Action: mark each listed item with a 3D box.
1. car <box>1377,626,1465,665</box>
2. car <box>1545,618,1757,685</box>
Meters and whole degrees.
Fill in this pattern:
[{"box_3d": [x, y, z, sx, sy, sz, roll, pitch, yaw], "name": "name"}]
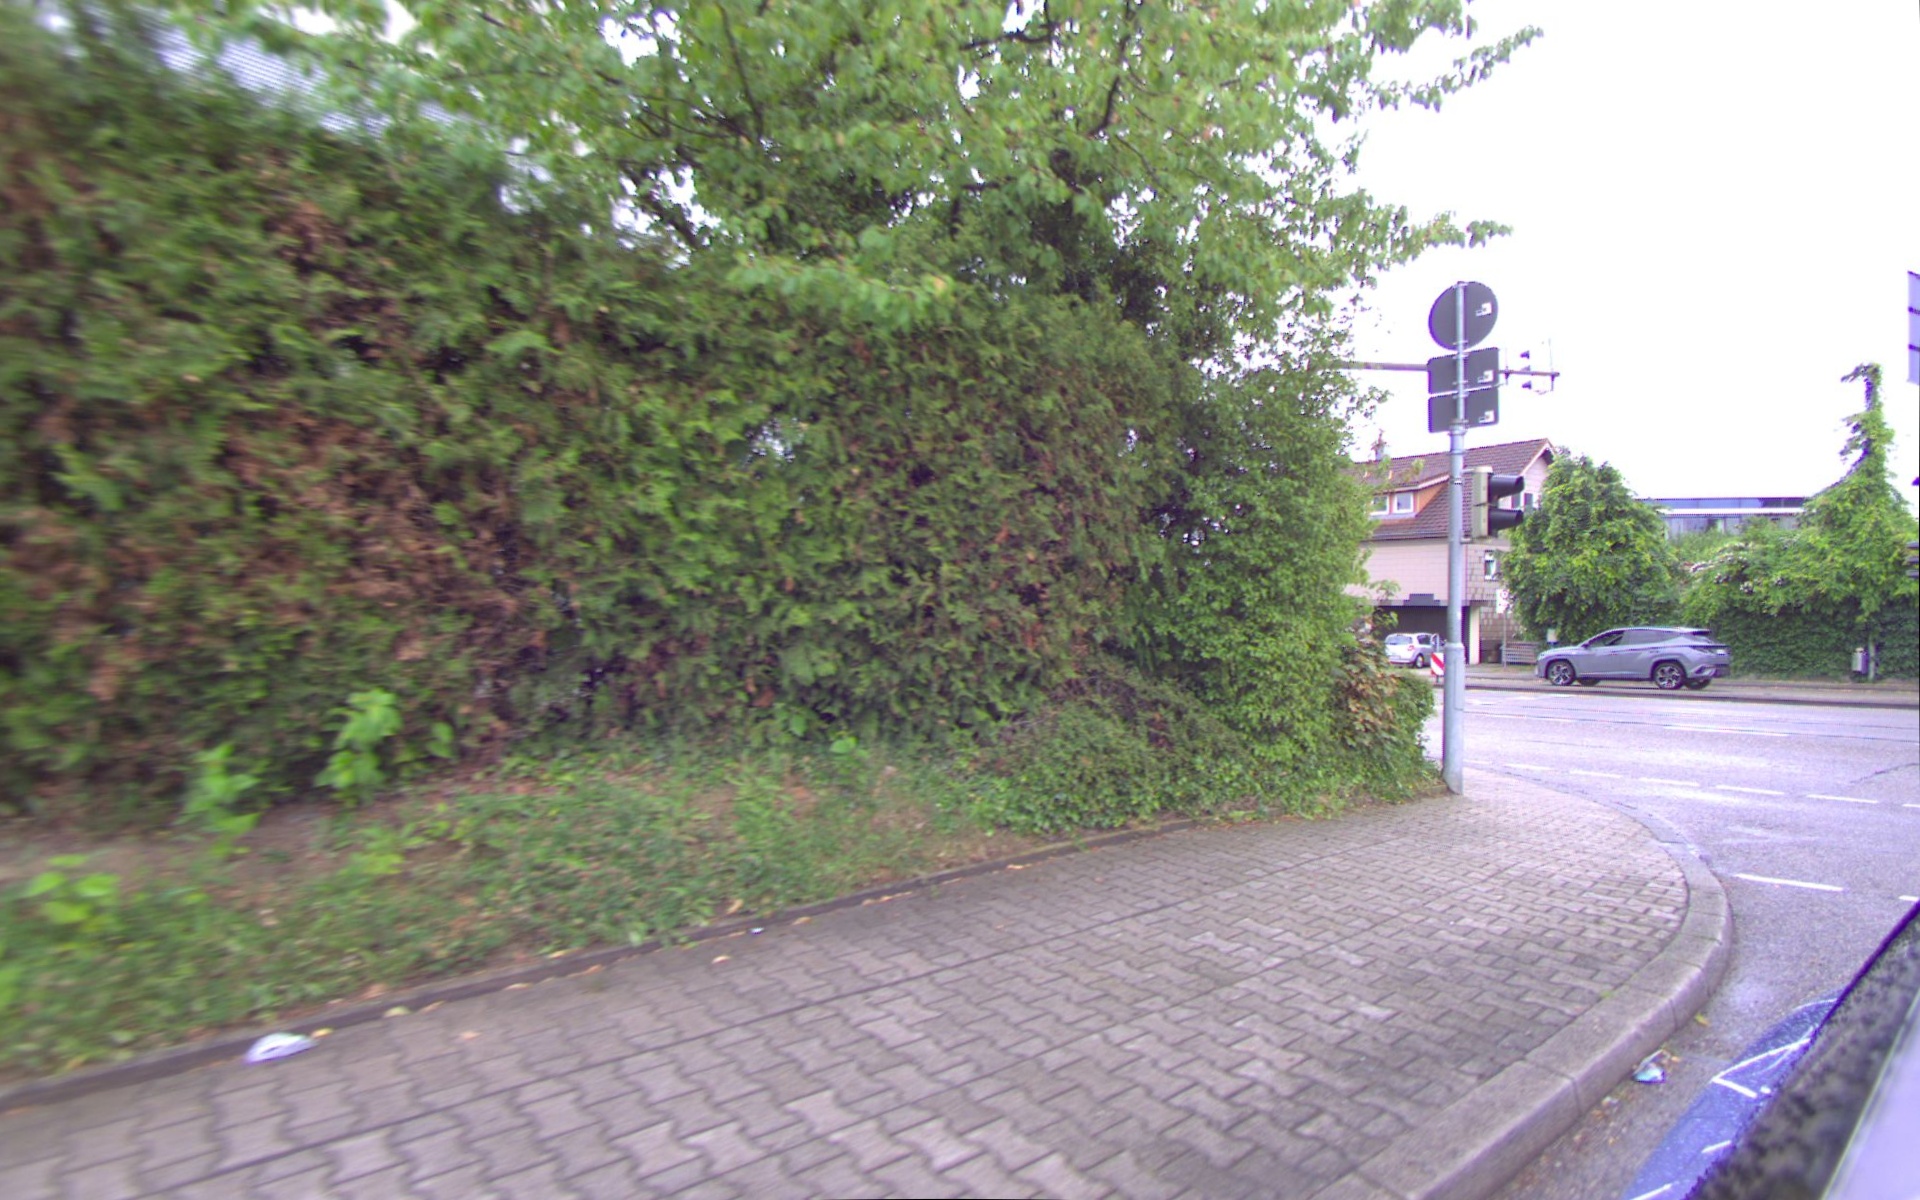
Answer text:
[{"box_3d": [19.487, 1.897, 42.754, 3.503, 1.473, 1.772, 0, 0, -32], "name": "car"}, {"box_3d": [18.549, 1.375, 27.358, 1.870, 1.661, 4.332, 1, -3, -35], "name": "car"}]
